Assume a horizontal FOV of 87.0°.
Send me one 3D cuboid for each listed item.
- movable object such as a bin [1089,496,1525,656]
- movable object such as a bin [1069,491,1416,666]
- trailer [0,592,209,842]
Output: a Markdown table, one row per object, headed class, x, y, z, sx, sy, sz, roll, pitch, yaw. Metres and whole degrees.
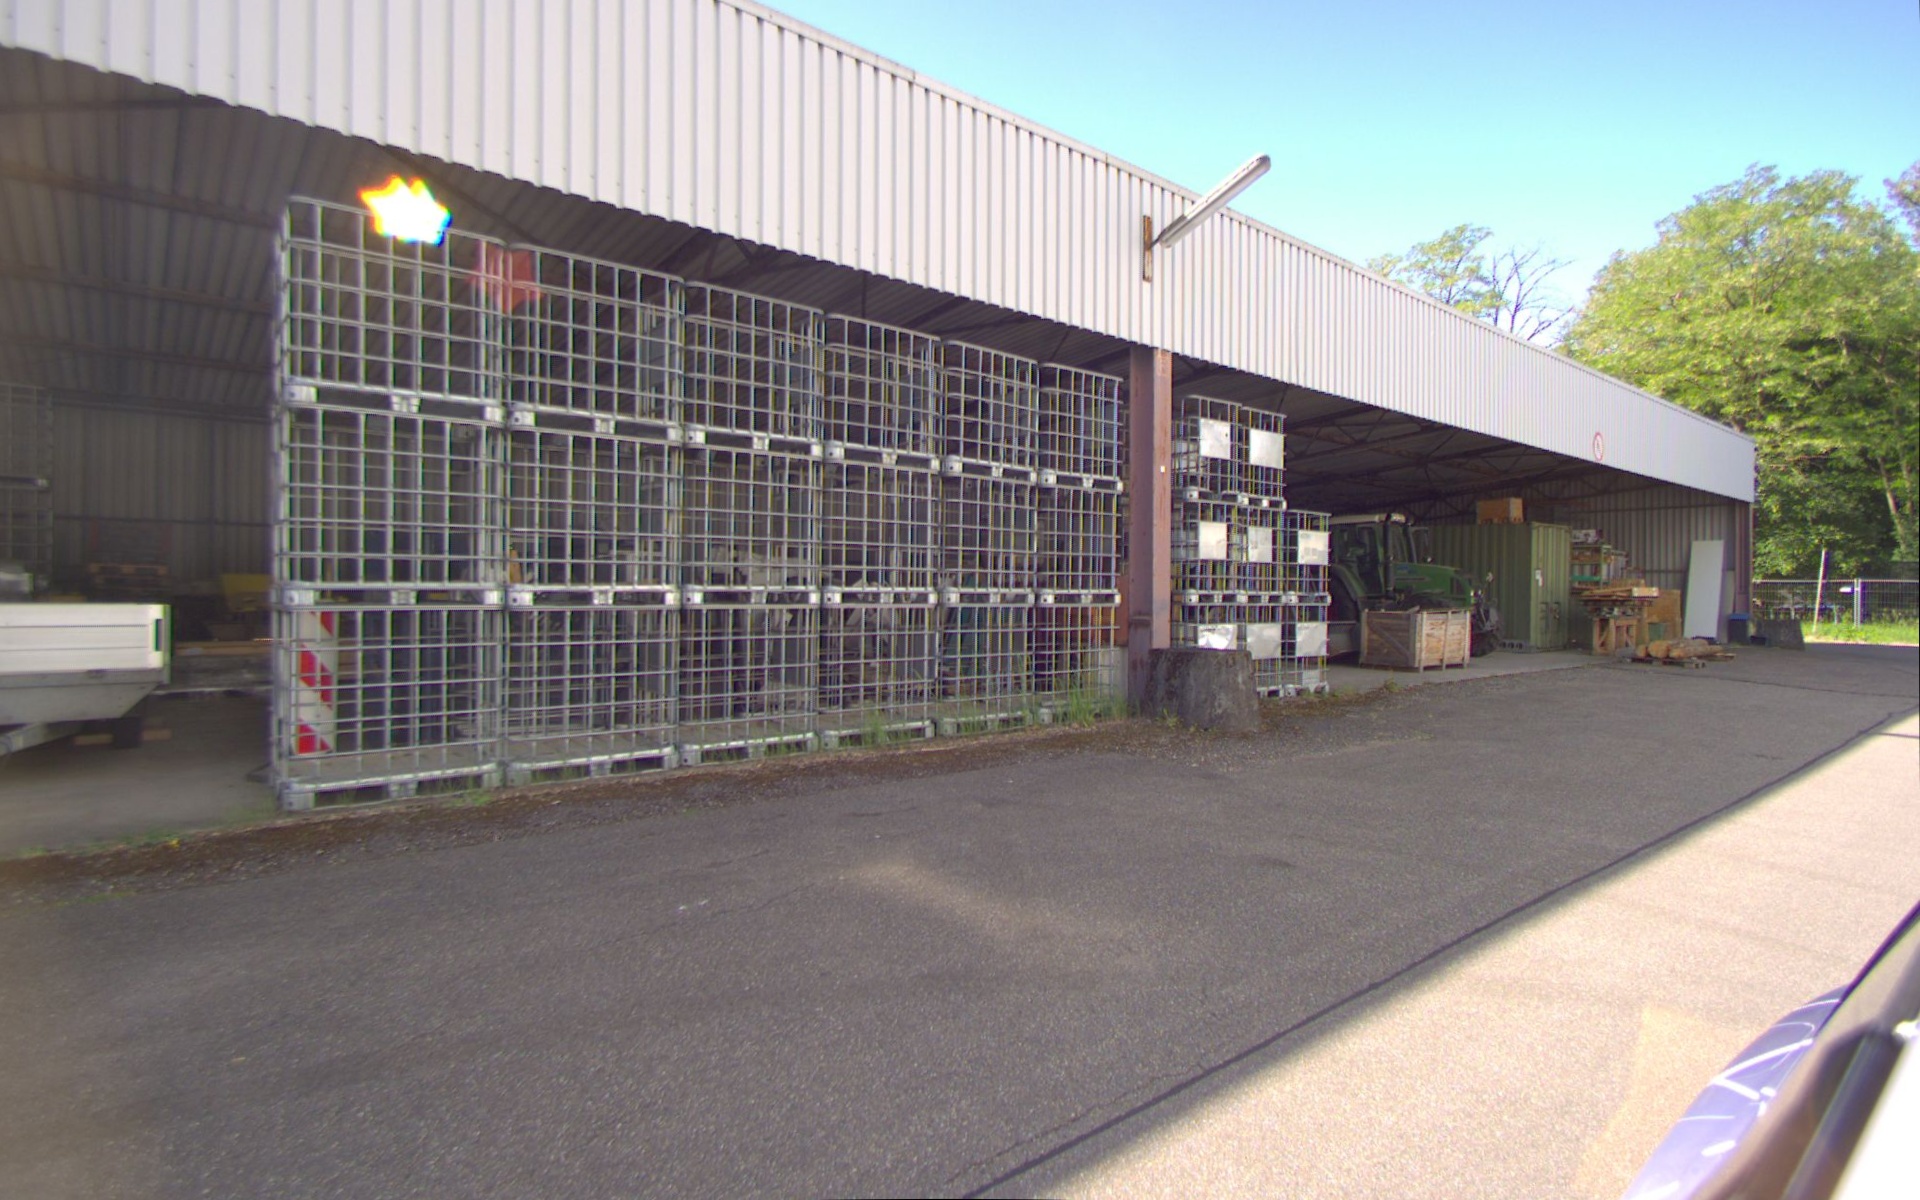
| class | x | y | z | sx | sy | sz | roll | pitch | yaw |
| --- | --- | --- | --- | --- | --- | --- | --- | --- | --- |
| movable object such as a bin | 7.368 | -0.480 | 23.120 | 3.154 | 2.947 | 9.212 | 0 | 0 | -39 |
| movable object such as a bin | 5.431 | -0.391 | 20.372 | 2.962 | 2.947 | 6.199 | 0 | 0 | -39 |
| trailer | -6.752 | 0.551 | 6.929 | 2.104 | 1.147 | 5.857 | 0 | 1 | -41 |
